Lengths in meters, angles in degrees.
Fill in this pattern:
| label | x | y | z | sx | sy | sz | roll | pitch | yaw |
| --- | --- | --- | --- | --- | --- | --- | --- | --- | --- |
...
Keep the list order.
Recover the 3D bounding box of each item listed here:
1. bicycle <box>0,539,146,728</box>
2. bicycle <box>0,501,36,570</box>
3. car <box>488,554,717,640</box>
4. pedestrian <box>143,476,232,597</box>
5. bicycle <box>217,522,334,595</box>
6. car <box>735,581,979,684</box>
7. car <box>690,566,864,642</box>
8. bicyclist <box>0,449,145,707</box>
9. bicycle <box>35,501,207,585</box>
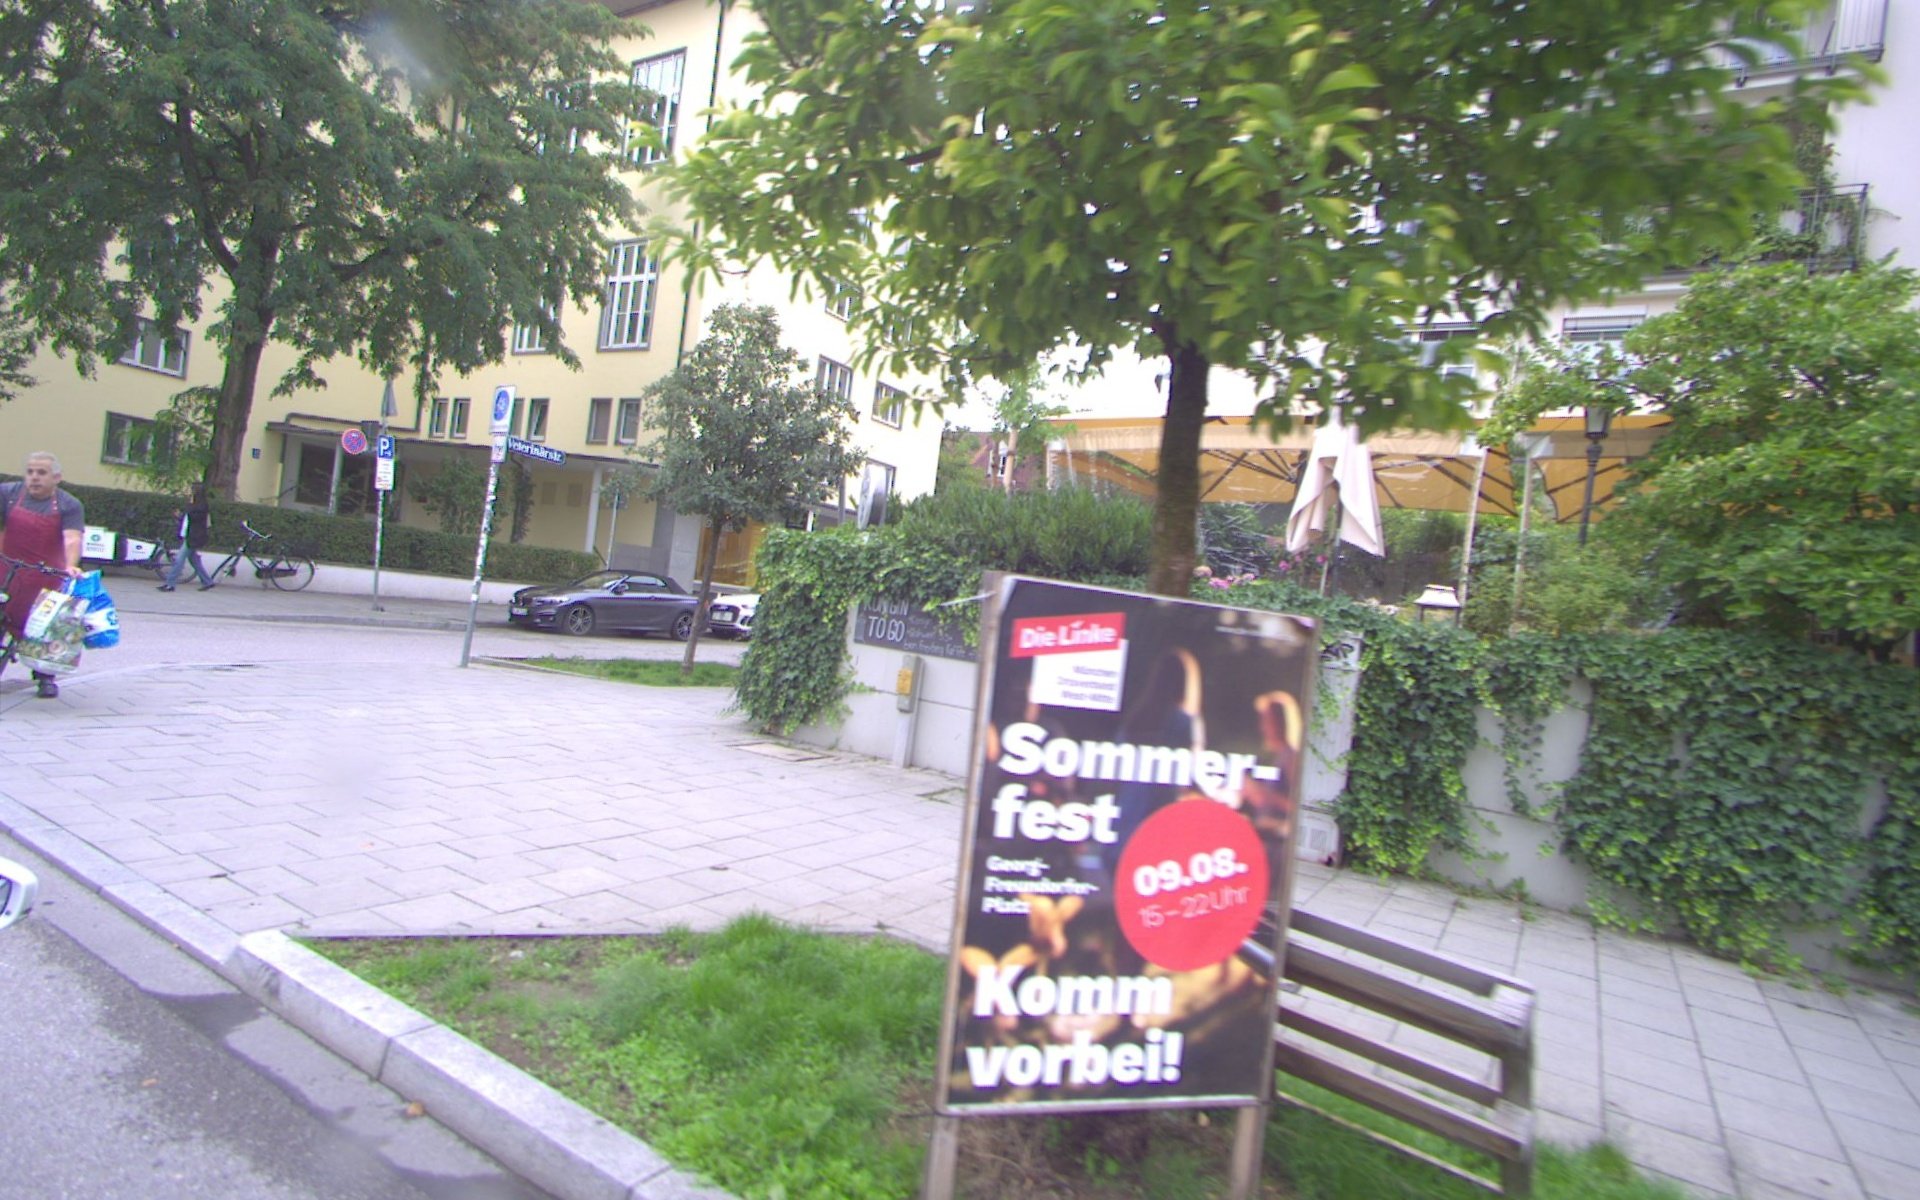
| label | x | y | z | sx | sy | sz | roll | pitch | yaw |
| --- | --- | --- | --- | --- | --- | --- | --- | --- | --- |
| bicycle | -6.402 | 0.170 | 6.918 | 2.160 | 1.032 | 0.875 | 8 | 1 | 42 |
| bicycle | -16.382 | -1.139 | 16.351 | 1.919 | 1.098 | 0.527 | 5 | 1 | -15 |
| car | -7.343 | -0.007 | 21.099 | 1.636 | 1.383 | 4.322 | 4 | -2 | 34 |
| pedestrian | -12.846 | -1.048 | 16.736 | 0.754 | 1.882 | 0.850 | 7 | 2 | 32 |
| bicycle | -12.778 | -0.754 | 18.833 | 0.452 | 1.144 | 1.684 | 8 | 1 | 32 |
| car | -1.686 | 0.644 | 18.063 | 1.937 | 1.416 | 4.496 | 8 | 0 | 31 |
| car | -4.560 | 0.153 | 25.629 | 1.829 | 1.683 | 4.307 | 4 | 0 | 33 |
| bicyclist | -6.302 | -0.165 | 6.867 | 1.034 | 1.629 | 0.874 | 8 | 1 | 41 |
| bicycle | -14.342 | -0.955 | 17.263 | 2.159 | 1.129 | 0.633 | 7 | 1 | -41 |
